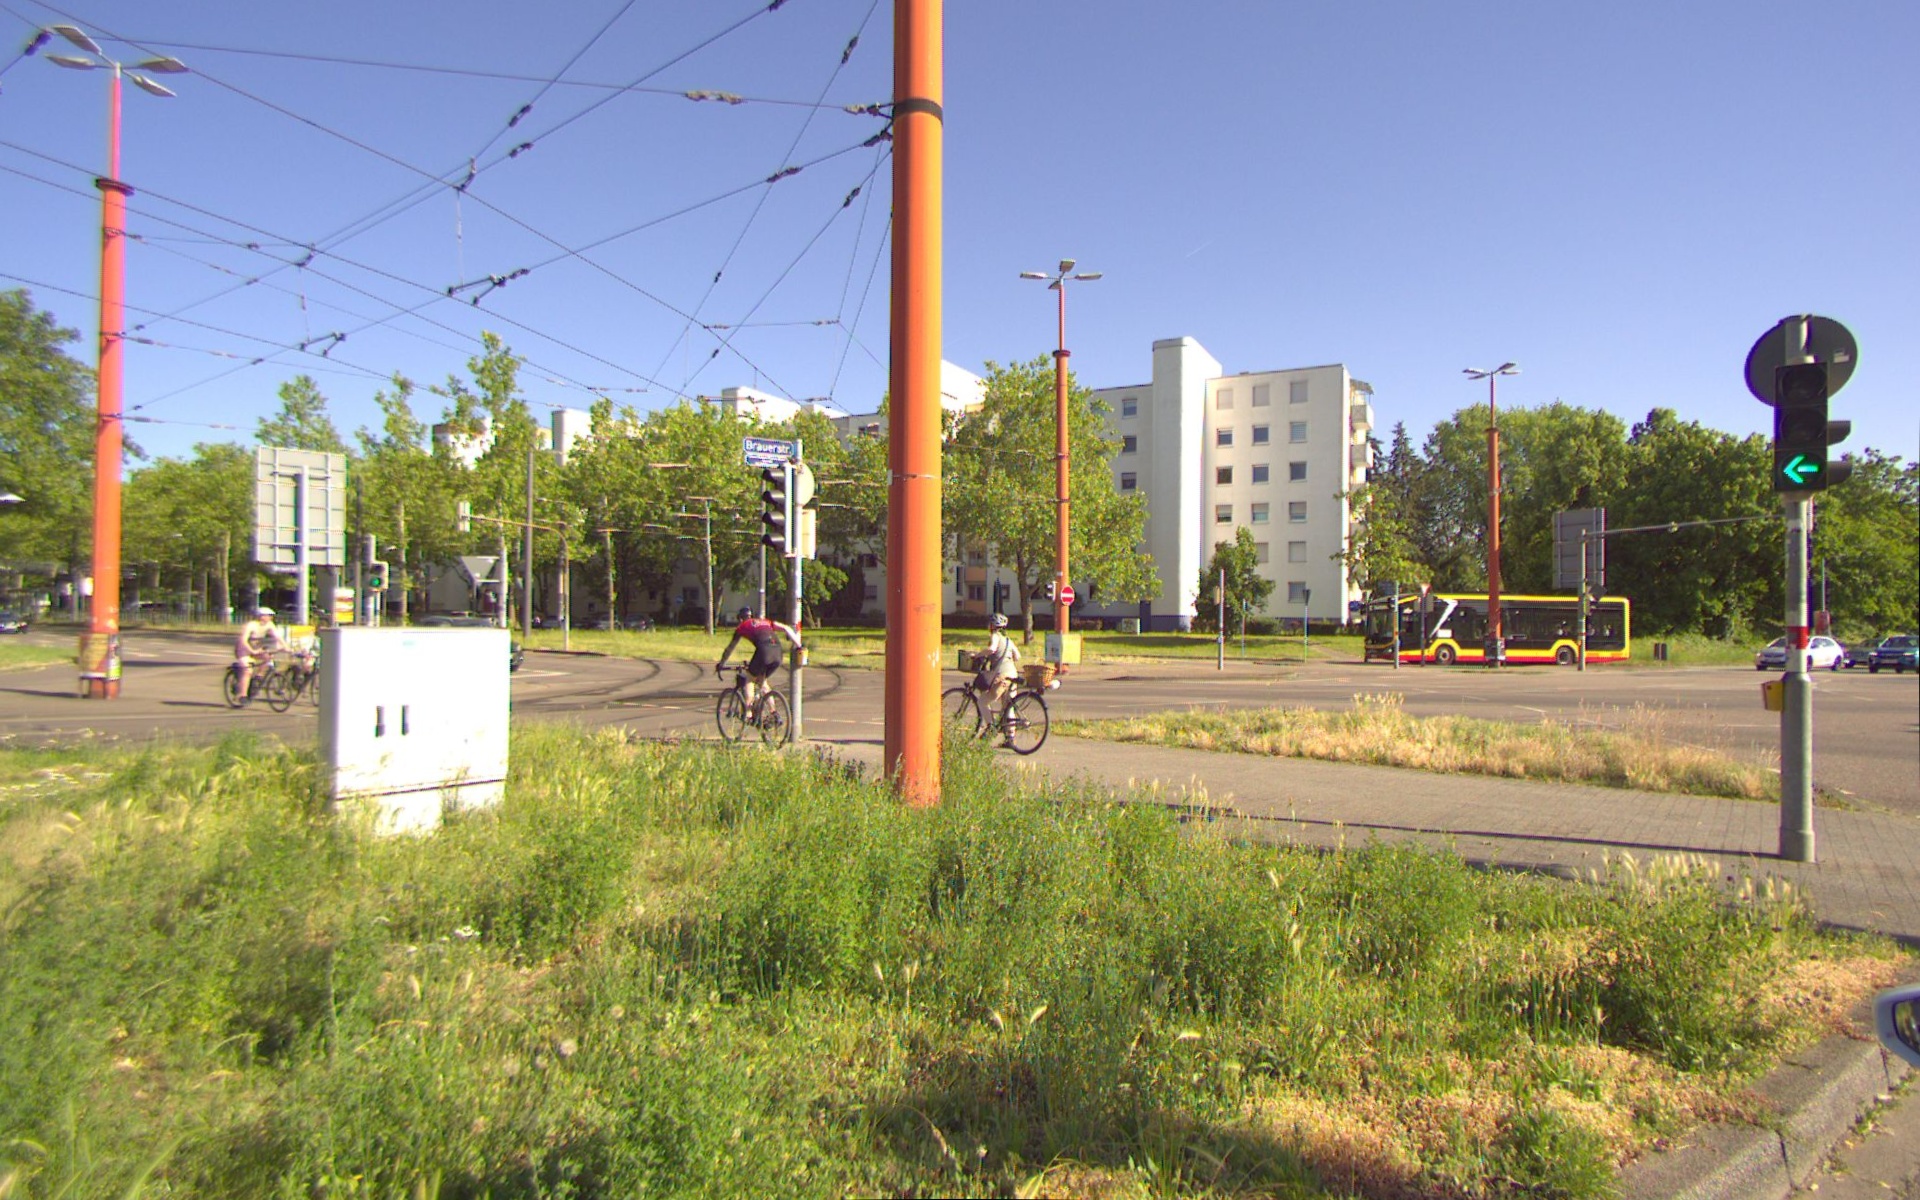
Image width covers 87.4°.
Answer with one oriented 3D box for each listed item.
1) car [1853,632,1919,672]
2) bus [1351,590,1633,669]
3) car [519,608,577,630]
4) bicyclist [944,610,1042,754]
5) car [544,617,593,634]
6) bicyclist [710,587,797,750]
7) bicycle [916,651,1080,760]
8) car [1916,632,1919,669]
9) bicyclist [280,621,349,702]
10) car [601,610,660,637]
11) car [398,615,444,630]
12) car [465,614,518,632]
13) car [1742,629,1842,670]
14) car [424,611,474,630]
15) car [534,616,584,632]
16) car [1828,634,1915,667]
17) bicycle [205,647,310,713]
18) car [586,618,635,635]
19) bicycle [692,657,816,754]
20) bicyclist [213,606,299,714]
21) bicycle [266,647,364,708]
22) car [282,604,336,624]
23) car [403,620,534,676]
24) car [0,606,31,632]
[{"bbox_3d":[37.297,2.037,39.762,3.813,1.535,1.793,1,-3,-30],"label":"car"},{"bbox_3d":[24.925,1.381,47.188,12.301,3.304,2.652,2,0,-6],"label":"bus"},{"bbox_3d":[-32.552,1.499,79.424,3.868,1.614,1.656,2,0,-8],"label":"car"},{"bbox_3d":[0.409,0.956,12.155,0.814,1.643,0.889,0,-1,37],"label":"bicyclist"},{"bbox_3d":[-29.332,1.882,75.332,3.219,1.172,1.357,2,0,-12],"label":"car"},{"bbox_3d":[-2.586,0.841,12.570,0.681,1.938,0.979,1,-2,-41],"label":"bicyclist"},{"bbox_3d":[0.440,1.230,12.141,1.885,1.146,0.738,0,-1,36],"label":"bicycle"},{"bbox_3d":[42.608,2.166,42.712,3.955,1.575,1.891,2,-2,-32],"label":"car"},{"bbox_3d":[-12.817,1.201,19.968,0.906,1.545,0.720,2,0,20],"label":"bicyclist"},{"bbox_3d":[-23.670,1.695,72.289,3.874,1.841,1.651,2,0,-13],"label":"car"},{"bbox_3d":[-46.630,1.917,86.945,3.370,1.204,1.439,2,0,-23],"label":"car"},{"bbox_3d":[-38.844,1.910,83.379,3.665,1.349,1.496,2,0,-8],"label":"car"},{"bbox_3d":[35.367,2.108,42.683,4.168,1.673,1.869,2,-3,-29],"label":"car"},{"bbox_3d":[-43.263,1.754,85.091,3.592,1.480,1.608,2,0,-19],"label":"car"},{"bbox_3d":[-30.899,1.849,77.429,3.346,1.162,1.305,2,0,-13],"label":"car"},{"bbox_3d":[43.136,2.371,47.529,3.952,1.533,1.877,1,-2,-29],"label":"car"},{"bbox_3d":[-12.930,1.456,18.477,1.878,1.086,0.580,2,0,19],"label":"bicycle"},{"bbox_3d":[-25.834,1.988,74.305,3.279,1.149,1.321,2,0,-11],"label":"car"},{"bbox_3d":[-2.615,1.282,12.610,0.687,1.085,1.893,1,-2,-41],"label":"bicycle"},{"bbox_3d":[-12.920,1.081,18.462,0.905,1.892,0.893,2,0,19],"label":"bicyclist"},{"bbox_3d":[-12.802,1.520,19.927,1.878,1.086,0.580,2,0,19],"label":"bicycle"},{"bbox_3d":[-66.306,1.455,102.346,4.274,2.010,1.932,1,-1,-19],"label":"car"},{"bbox_3d":[-15.220,1.438,31.091,3.977,1.516,1.913,2,0,34],"label":"car"},{"bbox_3d":[-57.098,1.109,59.996,3.941,1.516,1.909,0,-1,41],"label":"car"}]
